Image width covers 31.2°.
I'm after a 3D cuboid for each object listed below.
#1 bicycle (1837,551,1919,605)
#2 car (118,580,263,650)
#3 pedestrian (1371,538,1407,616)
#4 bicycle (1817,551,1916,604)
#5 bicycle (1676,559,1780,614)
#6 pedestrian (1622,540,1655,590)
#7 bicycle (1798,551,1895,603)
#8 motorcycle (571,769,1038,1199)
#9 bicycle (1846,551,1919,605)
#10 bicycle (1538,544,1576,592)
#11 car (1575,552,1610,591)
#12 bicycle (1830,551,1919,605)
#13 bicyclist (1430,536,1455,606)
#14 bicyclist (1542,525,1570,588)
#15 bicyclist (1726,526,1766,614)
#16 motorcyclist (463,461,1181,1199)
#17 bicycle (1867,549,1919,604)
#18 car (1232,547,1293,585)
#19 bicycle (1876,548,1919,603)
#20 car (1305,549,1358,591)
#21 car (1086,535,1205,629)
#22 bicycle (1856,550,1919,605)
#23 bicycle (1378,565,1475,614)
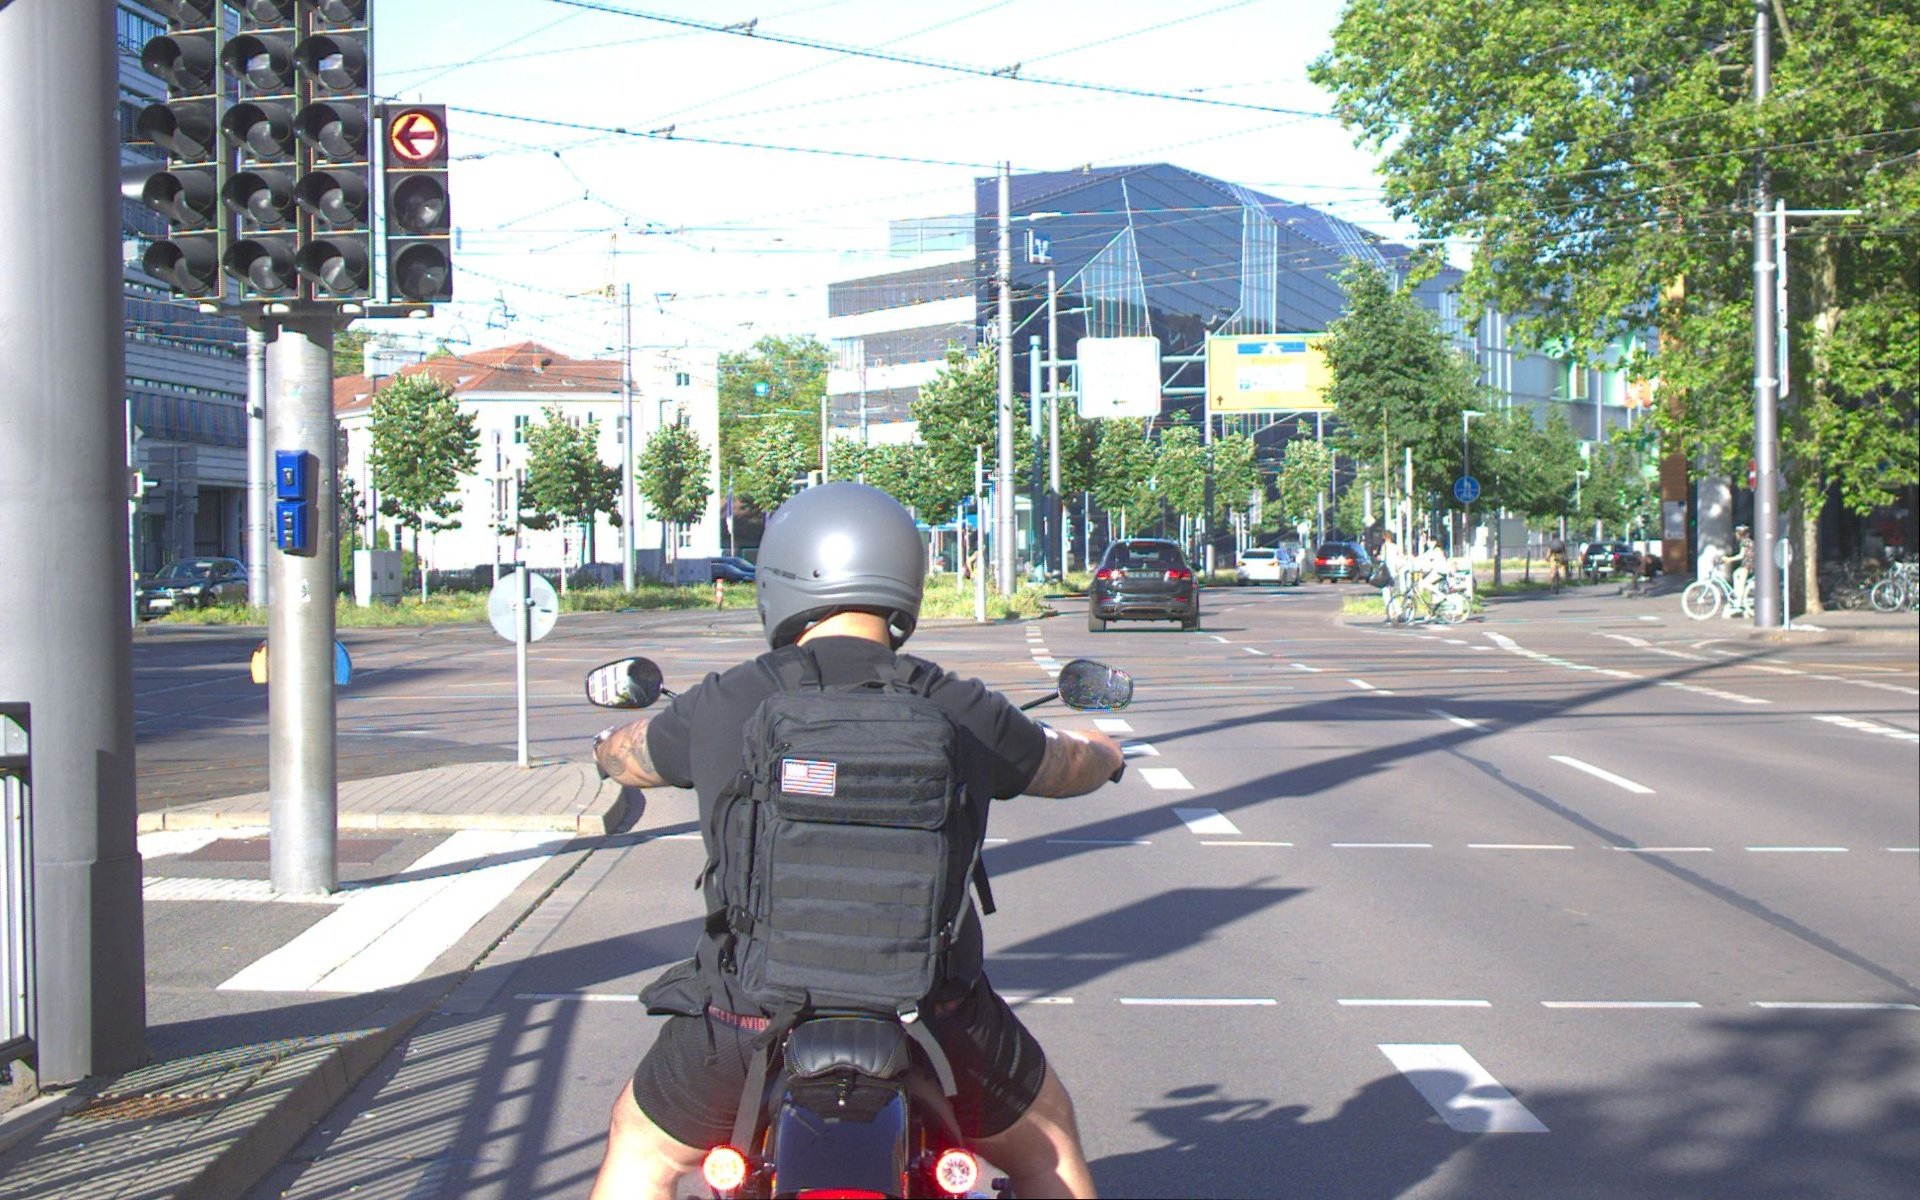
[{"bbox_3d":[18.480,-0.432,68.520,1.880,1.043,0.360,1,0,-1],"label":"bicycle"},{"bbox_3d":[-17.564,0.327,78.607,1.750,1.519,3.998,1,0,11],"label":"car"},{"bbox_3d":[8.585,-0.465,68.791,0.587,1.551,0.489,1,0,-8],"label":"pedestrian"},{"bbox_3d":[18.326,-0.458,69.503,1.880,1.043,0.360,1,1,-1],"label":"bicycle"},{"bbox_3d":[14.574,-0.250,65.245,1.872,1.040,0.536,0,0,19],"label":"bicycle"},{"bbox_3d":[17.890,-0.913,90.634,0.819,1.309,0.637,1,0,9],"label":"pedestrian"},{"bbox_3d":[18.225,-0.475,70.653,1.880,1.043,0.360,1,1,-1],"label":"bicycle"},{"bbox_3d":[-0.219,0.872,5.574,0.600,1.032,2.234,1,1,-1],"label":"motorcycle"},{"bbox_3d":[18.489,-0.429,67.888,1.880,1.043,0.360,1,1,-1],"label":"bicycle"},{"bbox_3d":[17.177,-0.912,98.990,0.726,1.362,2.917,1,0,3],"label":"bicycle"},{"bbox_3d":[30.119,-1.355,163.651,1.531,1.831,3.573,1,0,12],"label":"car"},{"bbox_3d":[18.453,-0.447,69.005,1.880,1.043,0.360,1,1,-1],"label":"bicycle"},{"bbox_3d":[9.427,-0.566,67.129,0.380,1.368,0.345,1,0,-9],"label":"bicyclist"},{"bbox_3d":[17.166,-1.253,99.029,0.697,1.802,0.728,1,0,4],"label":"bicyclist"},{"bbox_3d":[14.897,-0.565,65.135,0.688,1.667,0.540,0,0,19],"label":"bicyclist"},{"bbox_3d":[-0.201,0.588,5.403,1.030,1.588,0.873,0,1,-1],"label":"motorcyclist"},{"bbox_3d":[18.535,-0.446,66.517,1.880,1.043,0.360,1,0,-1],"label":"bicycle"},{"bbox_3d":[11.517,-1.298,130.694,1.804,1.425,4.451,0,1,12],"label":"car"},{"bbox_3d":[18.514,-0.454,65.734,1.880,1.043,0.360,1,0,-1],"label":"bicycle"},{"bbox_3d":[15.520,-1.250,143.540,1.804,1.672,4.039,1,0,11],"label":"car"},{"bbox_3d":[3.316,-0.348,60.793,1.804,1.590,4.452,0,1,7],"label":"car"},{"bbox_3d":[18.533,-0.437,67.331,1.880,1.043,0.360,1,0,-1],"label":"bicycle"},{"bbox_3d":[9.106,-0.211,67.081,1.825,0.922,0.358,1,0,-8],"label":"bicycle"}]
